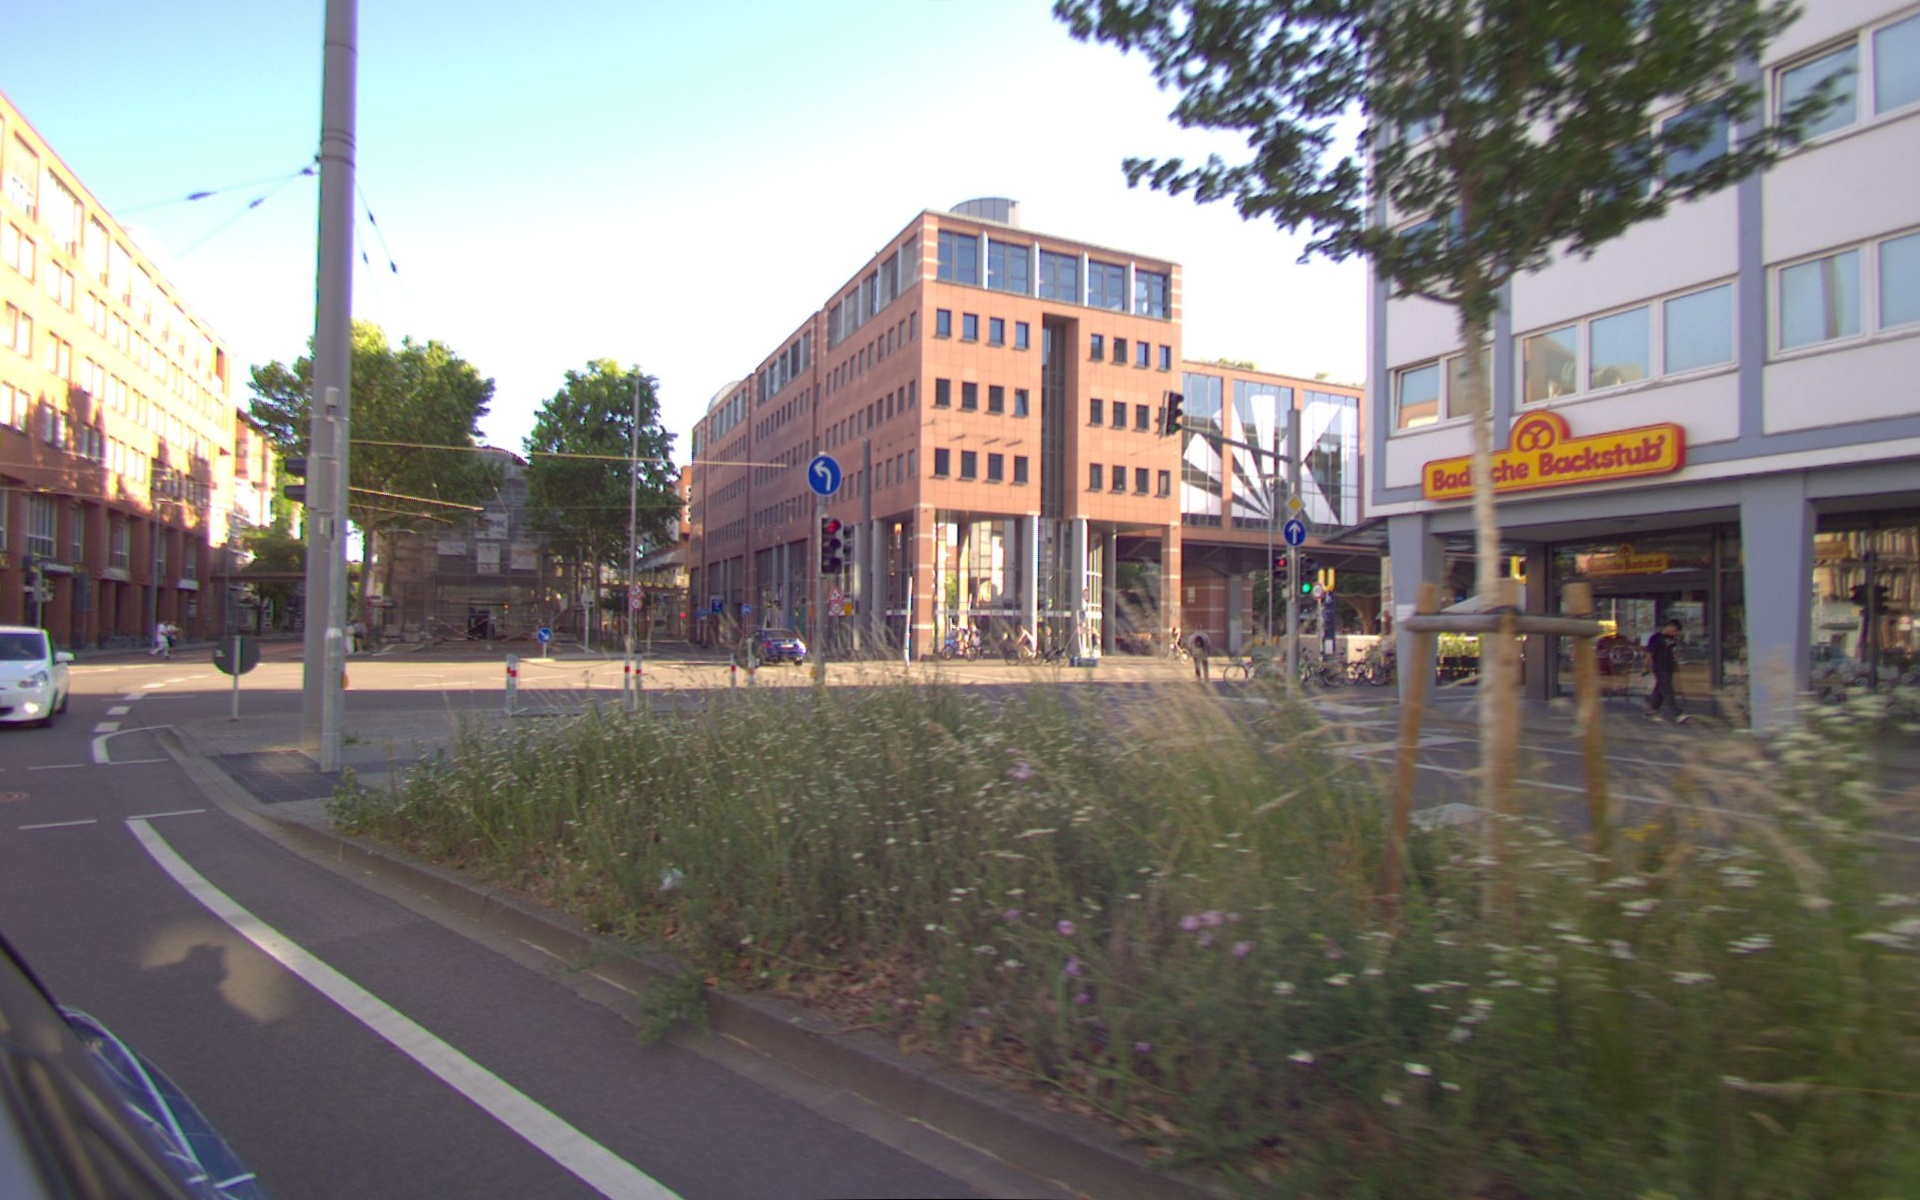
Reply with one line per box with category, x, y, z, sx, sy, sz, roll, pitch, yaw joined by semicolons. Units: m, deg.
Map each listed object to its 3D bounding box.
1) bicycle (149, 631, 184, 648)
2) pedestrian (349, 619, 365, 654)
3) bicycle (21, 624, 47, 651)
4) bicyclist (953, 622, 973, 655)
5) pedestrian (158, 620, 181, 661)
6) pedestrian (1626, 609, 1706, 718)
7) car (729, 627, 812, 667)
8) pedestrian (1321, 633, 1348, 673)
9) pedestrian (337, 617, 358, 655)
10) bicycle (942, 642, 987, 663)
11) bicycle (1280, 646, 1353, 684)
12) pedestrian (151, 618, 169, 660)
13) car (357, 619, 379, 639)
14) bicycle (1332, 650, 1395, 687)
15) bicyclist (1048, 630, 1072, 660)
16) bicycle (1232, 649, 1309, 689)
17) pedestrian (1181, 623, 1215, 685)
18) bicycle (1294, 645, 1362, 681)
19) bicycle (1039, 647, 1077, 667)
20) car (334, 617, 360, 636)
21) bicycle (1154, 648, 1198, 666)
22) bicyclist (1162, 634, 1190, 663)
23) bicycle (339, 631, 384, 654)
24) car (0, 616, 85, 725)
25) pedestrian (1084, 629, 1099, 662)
bicycle;-50.060;2.475;63.848;1.588;0.962;0.557;4;-3;-23
pedestrian;-28.859;1.742;48.471;0.558;1.692;0.532;2;-2;-24
bicycle;-43.097;1.737;47.111;0.335;1.265;1.716;2;-2;-24
bicyclist;0.117;1.759;45.841;0.736;1.496;0.585;1;-3;-21
pedestrian;-34.354;1.752;43.971;0.624;1.738;0.632;1;-2;-26
pedestrian;11.639;1.026;16.694;0.793;1.737;0.779;1;-2;-25
car;-7.435;1.804;39.326;1.807;1.396;4.610;2;-2;-28
pedestrian;15.814;2.233;42.727;0.898;1.678;0.881;0;-2;10
pedestrian;-28.835;1.701;47.671;0.766;1.747;0.851;2;-2;-28
bicycle;0.219;2.389;45.849;1.931;0.919;0.585;1;-2;-21
bicycle;10.566;1.914;30.047;0.587;1.061;2.008;2;-3;-43
pedestrian;-33.986;1.653;42.992;0.469;1.806;0.543;1;-2;-26
car;-79.757;3.896;136.379;2.085;2.584;5.924;1;-2;-25
bicycle;12.314;2.069;30.952;0.586;1.061;2.012;1;-2;-21
bicyclist;4.405;1.983;44.675;0.617;1.322;0.944;-1;-2;42
bicycle;8.741;1.924;28.523;2.004;1.061;0.588;-1;-3;40
pedestrian;6.992;1.583;29.775;0.619;1.805;0.787;1;-2;-24
bicycle;11.228;1.909;30.946;0.586;1.061;2.011;2;-3;-34
bicycle;4.344;2.512;44.601;0.617;0.814;1.991;-1;-2;42
car;-66.680;2.870;110.081;1.891;2.094;5.187;1;-2;-26
bicycle;10.282;2.687;48.154;1.984;0.814;0.782;1;-2;-28
bicyclist;10.284;2.316;48.166;1.004;1.350;0.782;1;-2;-28
bicycle;-28.901;2.052;48.899;1.803;1.087;0.482;2;-2;-24
car;-14.906;1.011;15.571;1.780;1.512;4.210;2;-2;-36
pedestrian;6.239;2.170;47.983;0.482;1.548;0.563;2;-3;-43
